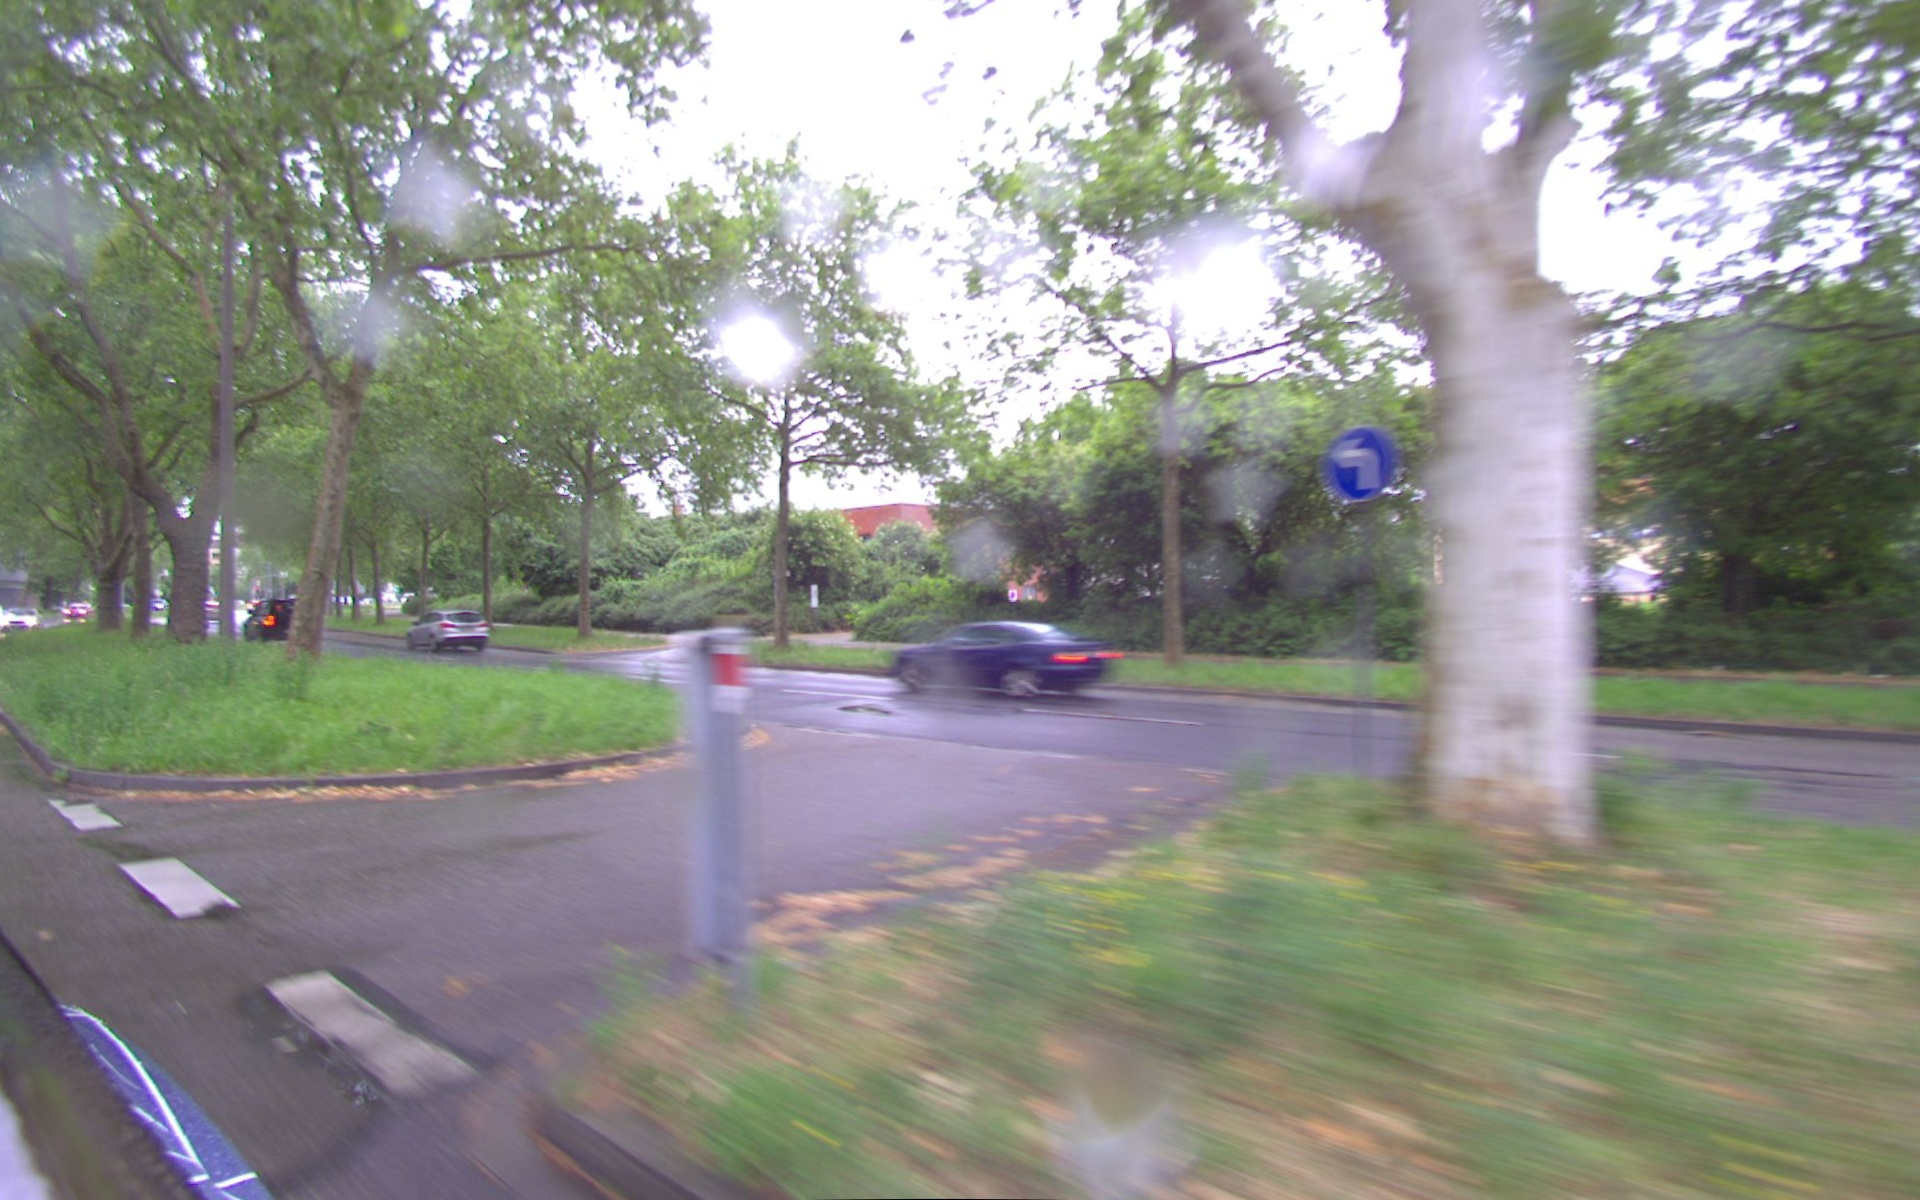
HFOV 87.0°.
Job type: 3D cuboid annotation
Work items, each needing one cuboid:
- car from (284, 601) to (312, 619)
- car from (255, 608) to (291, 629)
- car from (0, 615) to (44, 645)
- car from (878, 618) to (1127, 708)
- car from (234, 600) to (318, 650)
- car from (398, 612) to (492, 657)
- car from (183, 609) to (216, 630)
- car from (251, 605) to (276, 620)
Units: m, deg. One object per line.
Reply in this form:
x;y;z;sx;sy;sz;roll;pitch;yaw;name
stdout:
-82.773;1.254;126.670;2.001;2.243;5.452;0;0;-23;car
-50.674;1.370;74.612;1.722;1.487;4.088;0;0;-42;car
-55.836;1.770;59.832;1.967;1.642;4.532;-1;1;-36;car
0.679;1.108;18.622;4.441;1.450;1.726;-2;-1;40;car
-27.615;0.962;40.766;5.121;1.855;1.724;0;0;43;car
-18.661;1.196;36.607;4.236;1.487;1.724;0;0;44;car
-59.294;1.485;78.872;1.722;1.603;4.336;0;0;-41;car
-67.836;1.214;98.611;1.719;1.470;3.853;0;0;-30;car
